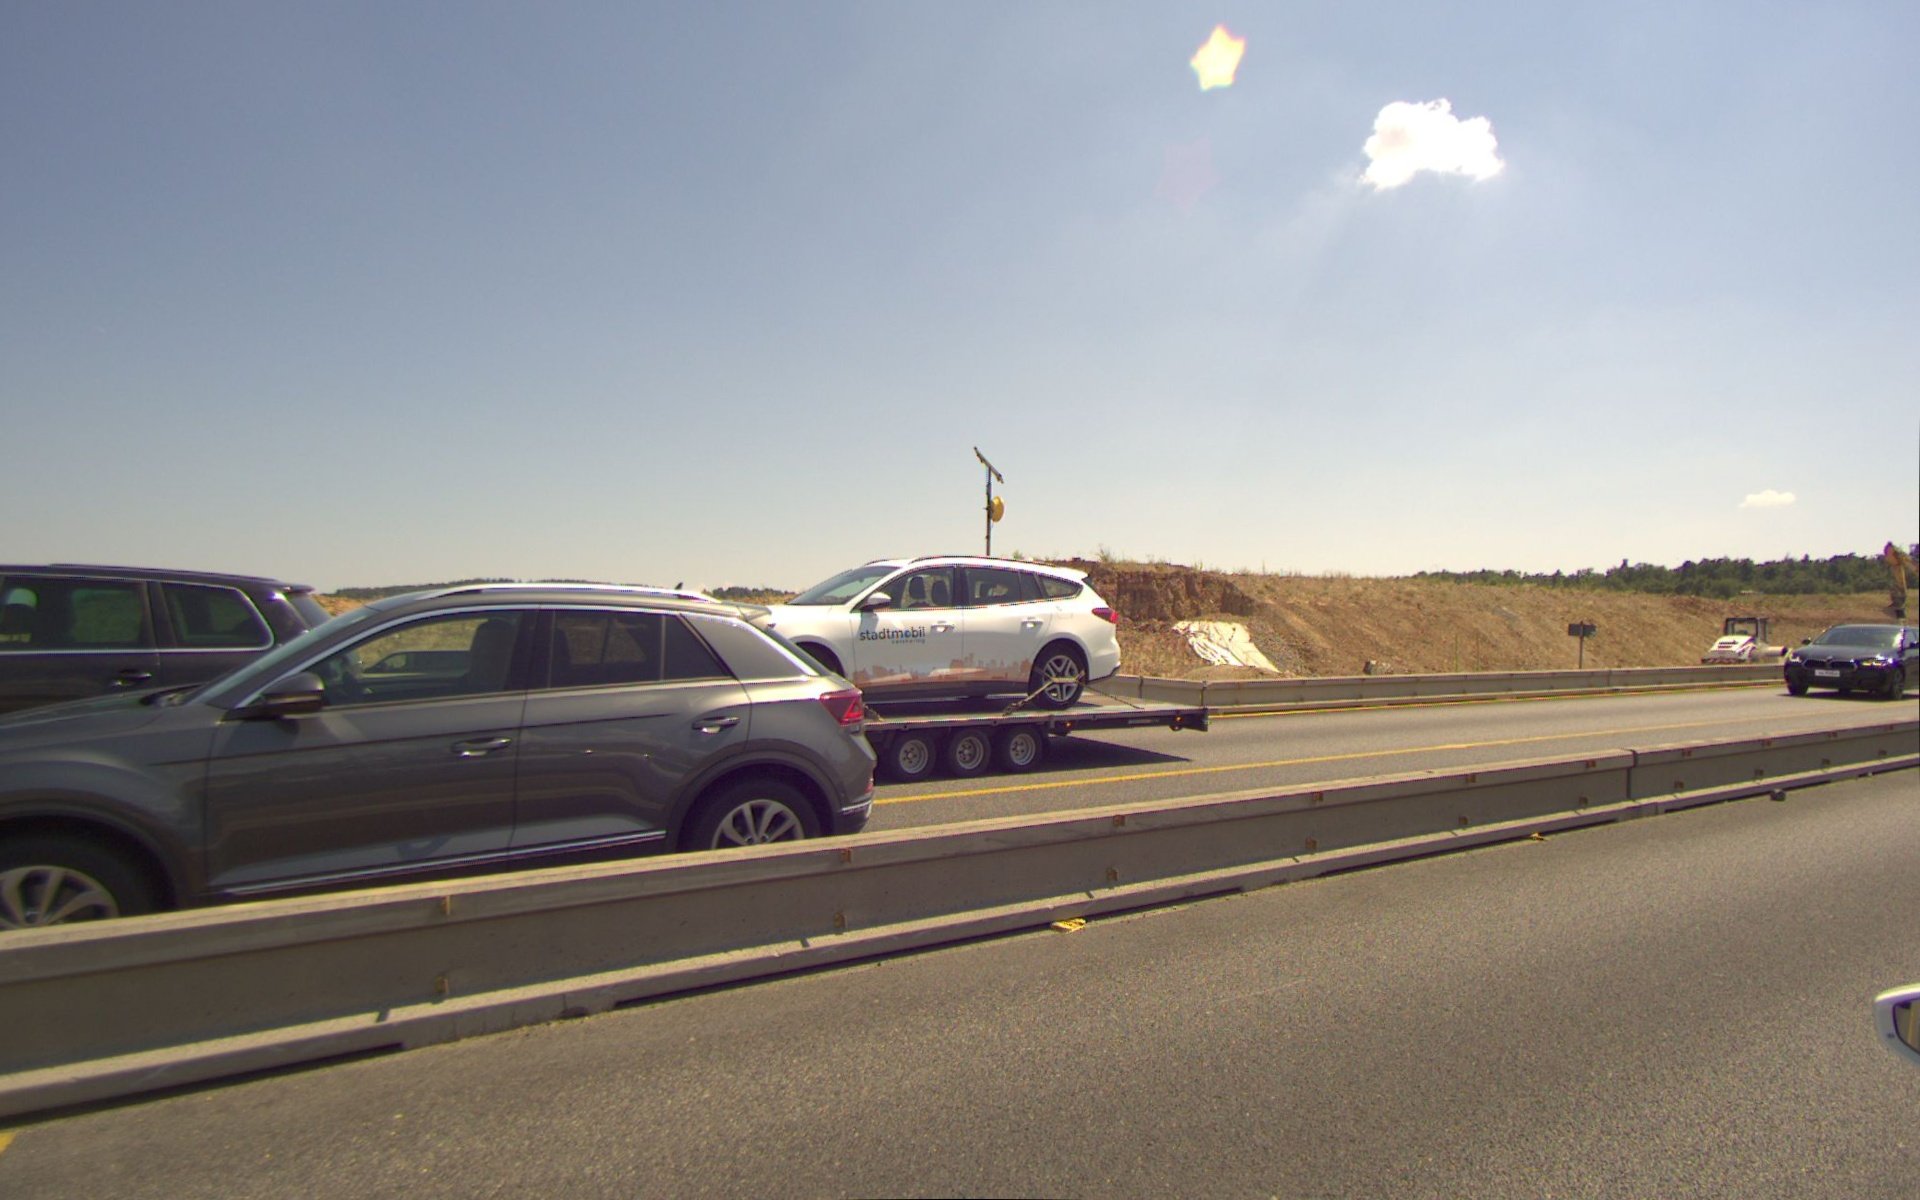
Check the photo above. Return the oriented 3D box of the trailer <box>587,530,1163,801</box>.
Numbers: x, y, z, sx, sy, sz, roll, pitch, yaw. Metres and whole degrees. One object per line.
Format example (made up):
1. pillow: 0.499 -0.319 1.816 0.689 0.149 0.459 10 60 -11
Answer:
1. trailer: -0.709 0.550 9.711 5.174 2.008 2.121 1 -2 -31

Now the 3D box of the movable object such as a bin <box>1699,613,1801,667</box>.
1. movable object such as a bin: 38.761 1.926 49.229 6.667 2.493 1.693 1 -1 -31

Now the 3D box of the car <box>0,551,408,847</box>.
1. car: -6.232 0.566 6.441 4.662 1.701 1.914 1 -1 -31

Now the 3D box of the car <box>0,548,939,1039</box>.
1. car: -2.282 0.668 4.777 4.087 1.600 1.685 1 -1 -31

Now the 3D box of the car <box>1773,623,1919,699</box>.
1. car: 19.642 1.266 21.855 4.344 1.498 1.716 1 -1 -32

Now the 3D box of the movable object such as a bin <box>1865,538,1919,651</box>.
1. movable object such as a bin: 68.504 -0.380 69.833 3.404 7.815 7.604 1 -1 -29
